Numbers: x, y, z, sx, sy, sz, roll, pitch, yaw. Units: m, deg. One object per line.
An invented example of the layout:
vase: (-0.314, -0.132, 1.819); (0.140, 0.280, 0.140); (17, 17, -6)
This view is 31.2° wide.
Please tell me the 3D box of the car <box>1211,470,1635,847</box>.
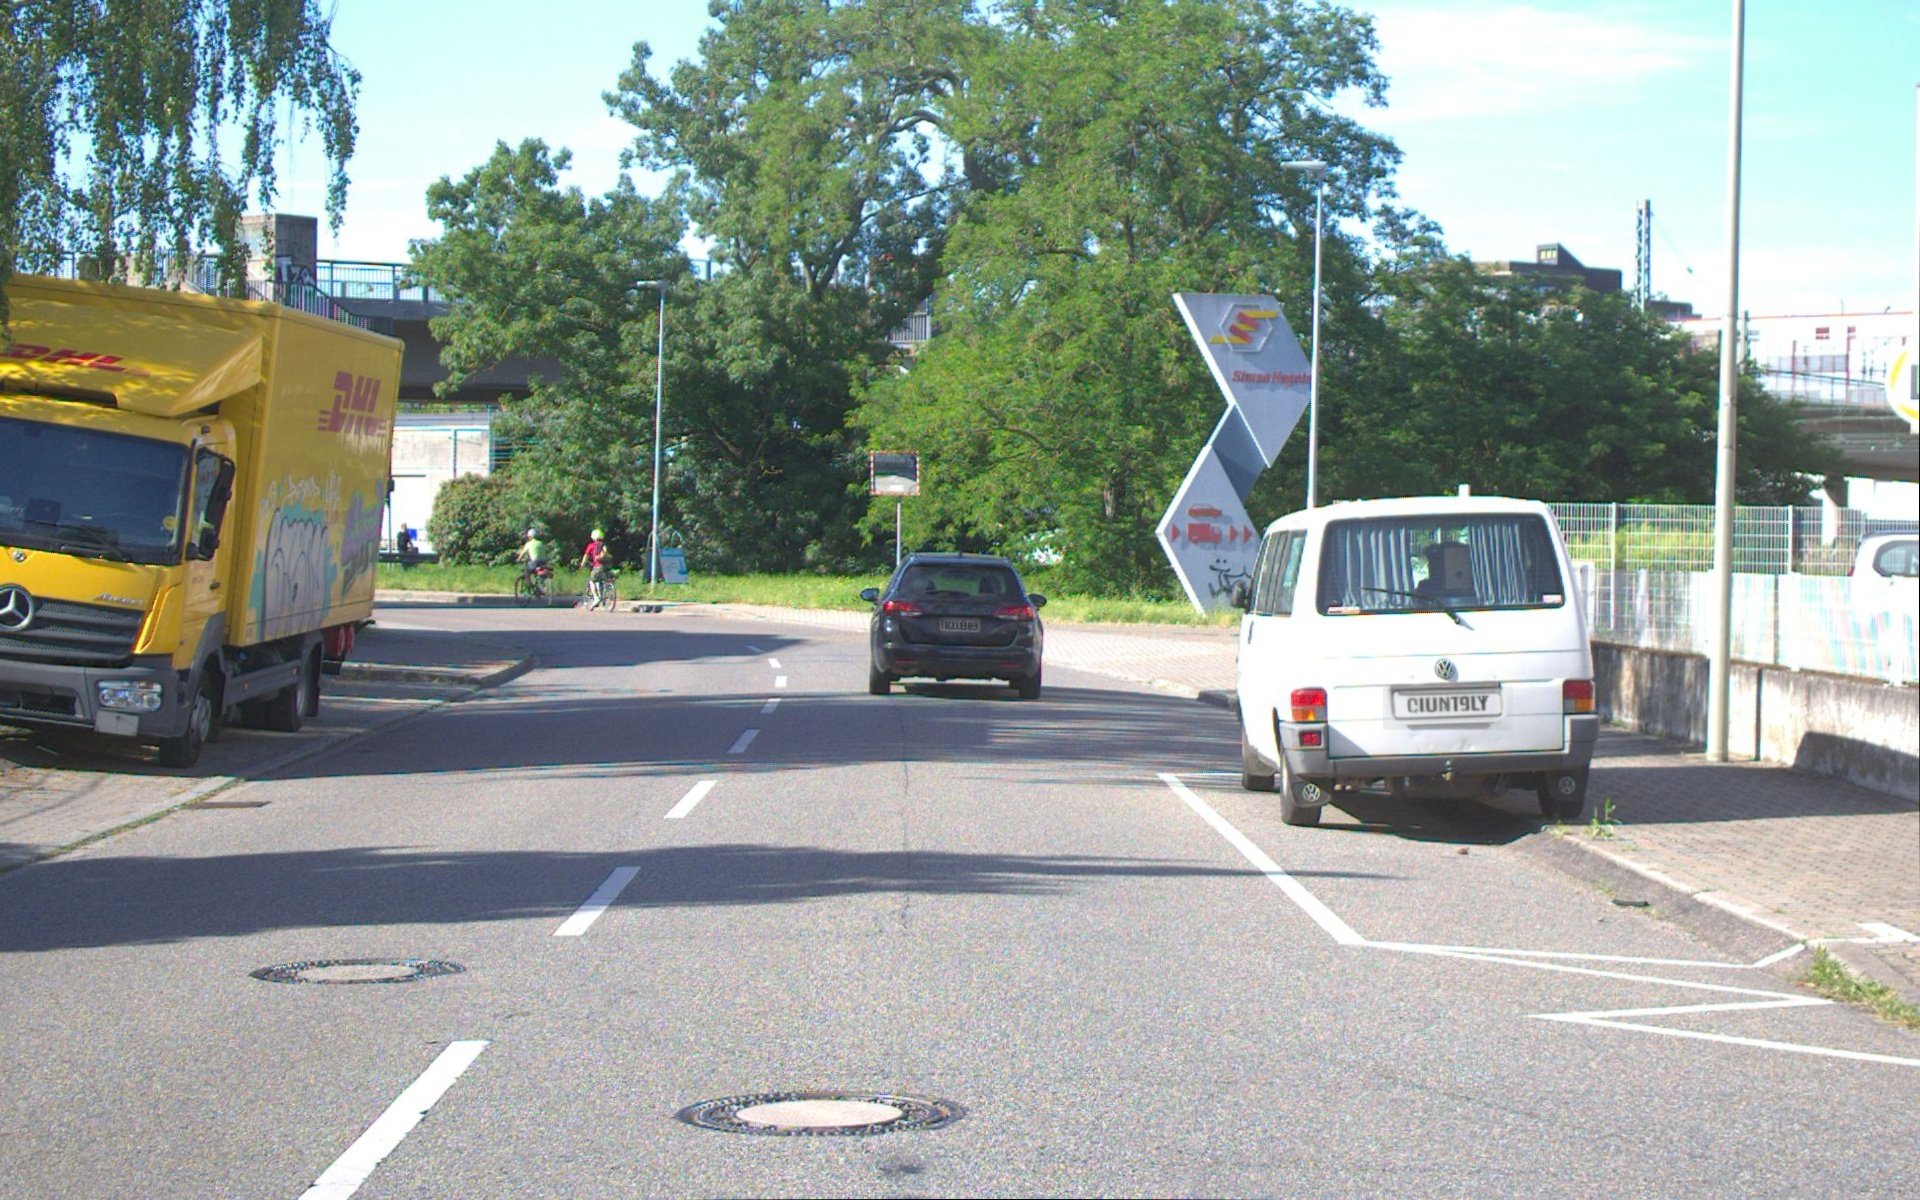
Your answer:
car: (2.742, 0.299, 21.555); (1.874, 2.007, 5.160); (2, 1, 0)

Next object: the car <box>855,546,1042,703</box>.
car: (-0.105, 0.210, 36.145); (1.847, 1.525, 4.000); (0, 1, 0)

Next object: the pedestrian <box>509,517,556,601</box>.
pedestrian: (-9.546, -0.909, 76.741); (0.657, 1.828, 0.794); (2, 0, -37)

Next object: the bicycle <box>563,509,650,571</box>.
bicycle: (-7.584, -1.286, 73.622); (0.803, 1.263, 2.258); (2, 1, -35)

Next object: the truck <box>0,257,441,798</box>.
truck: (-6.325, -0.698, 27.642); (2.631, 3.493, 8.657); (7, 2, 0)

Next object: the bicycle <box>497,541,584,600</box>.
bicycle: (-9.384, -0.664, 76.868); (0.804, 1.217, 2.258); (2, 1, -40)

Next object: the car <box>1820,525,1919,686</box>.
car: (13.485, 0.084, 42.840); (1.875, 2.007, 5.158); (0, 2, -43)
